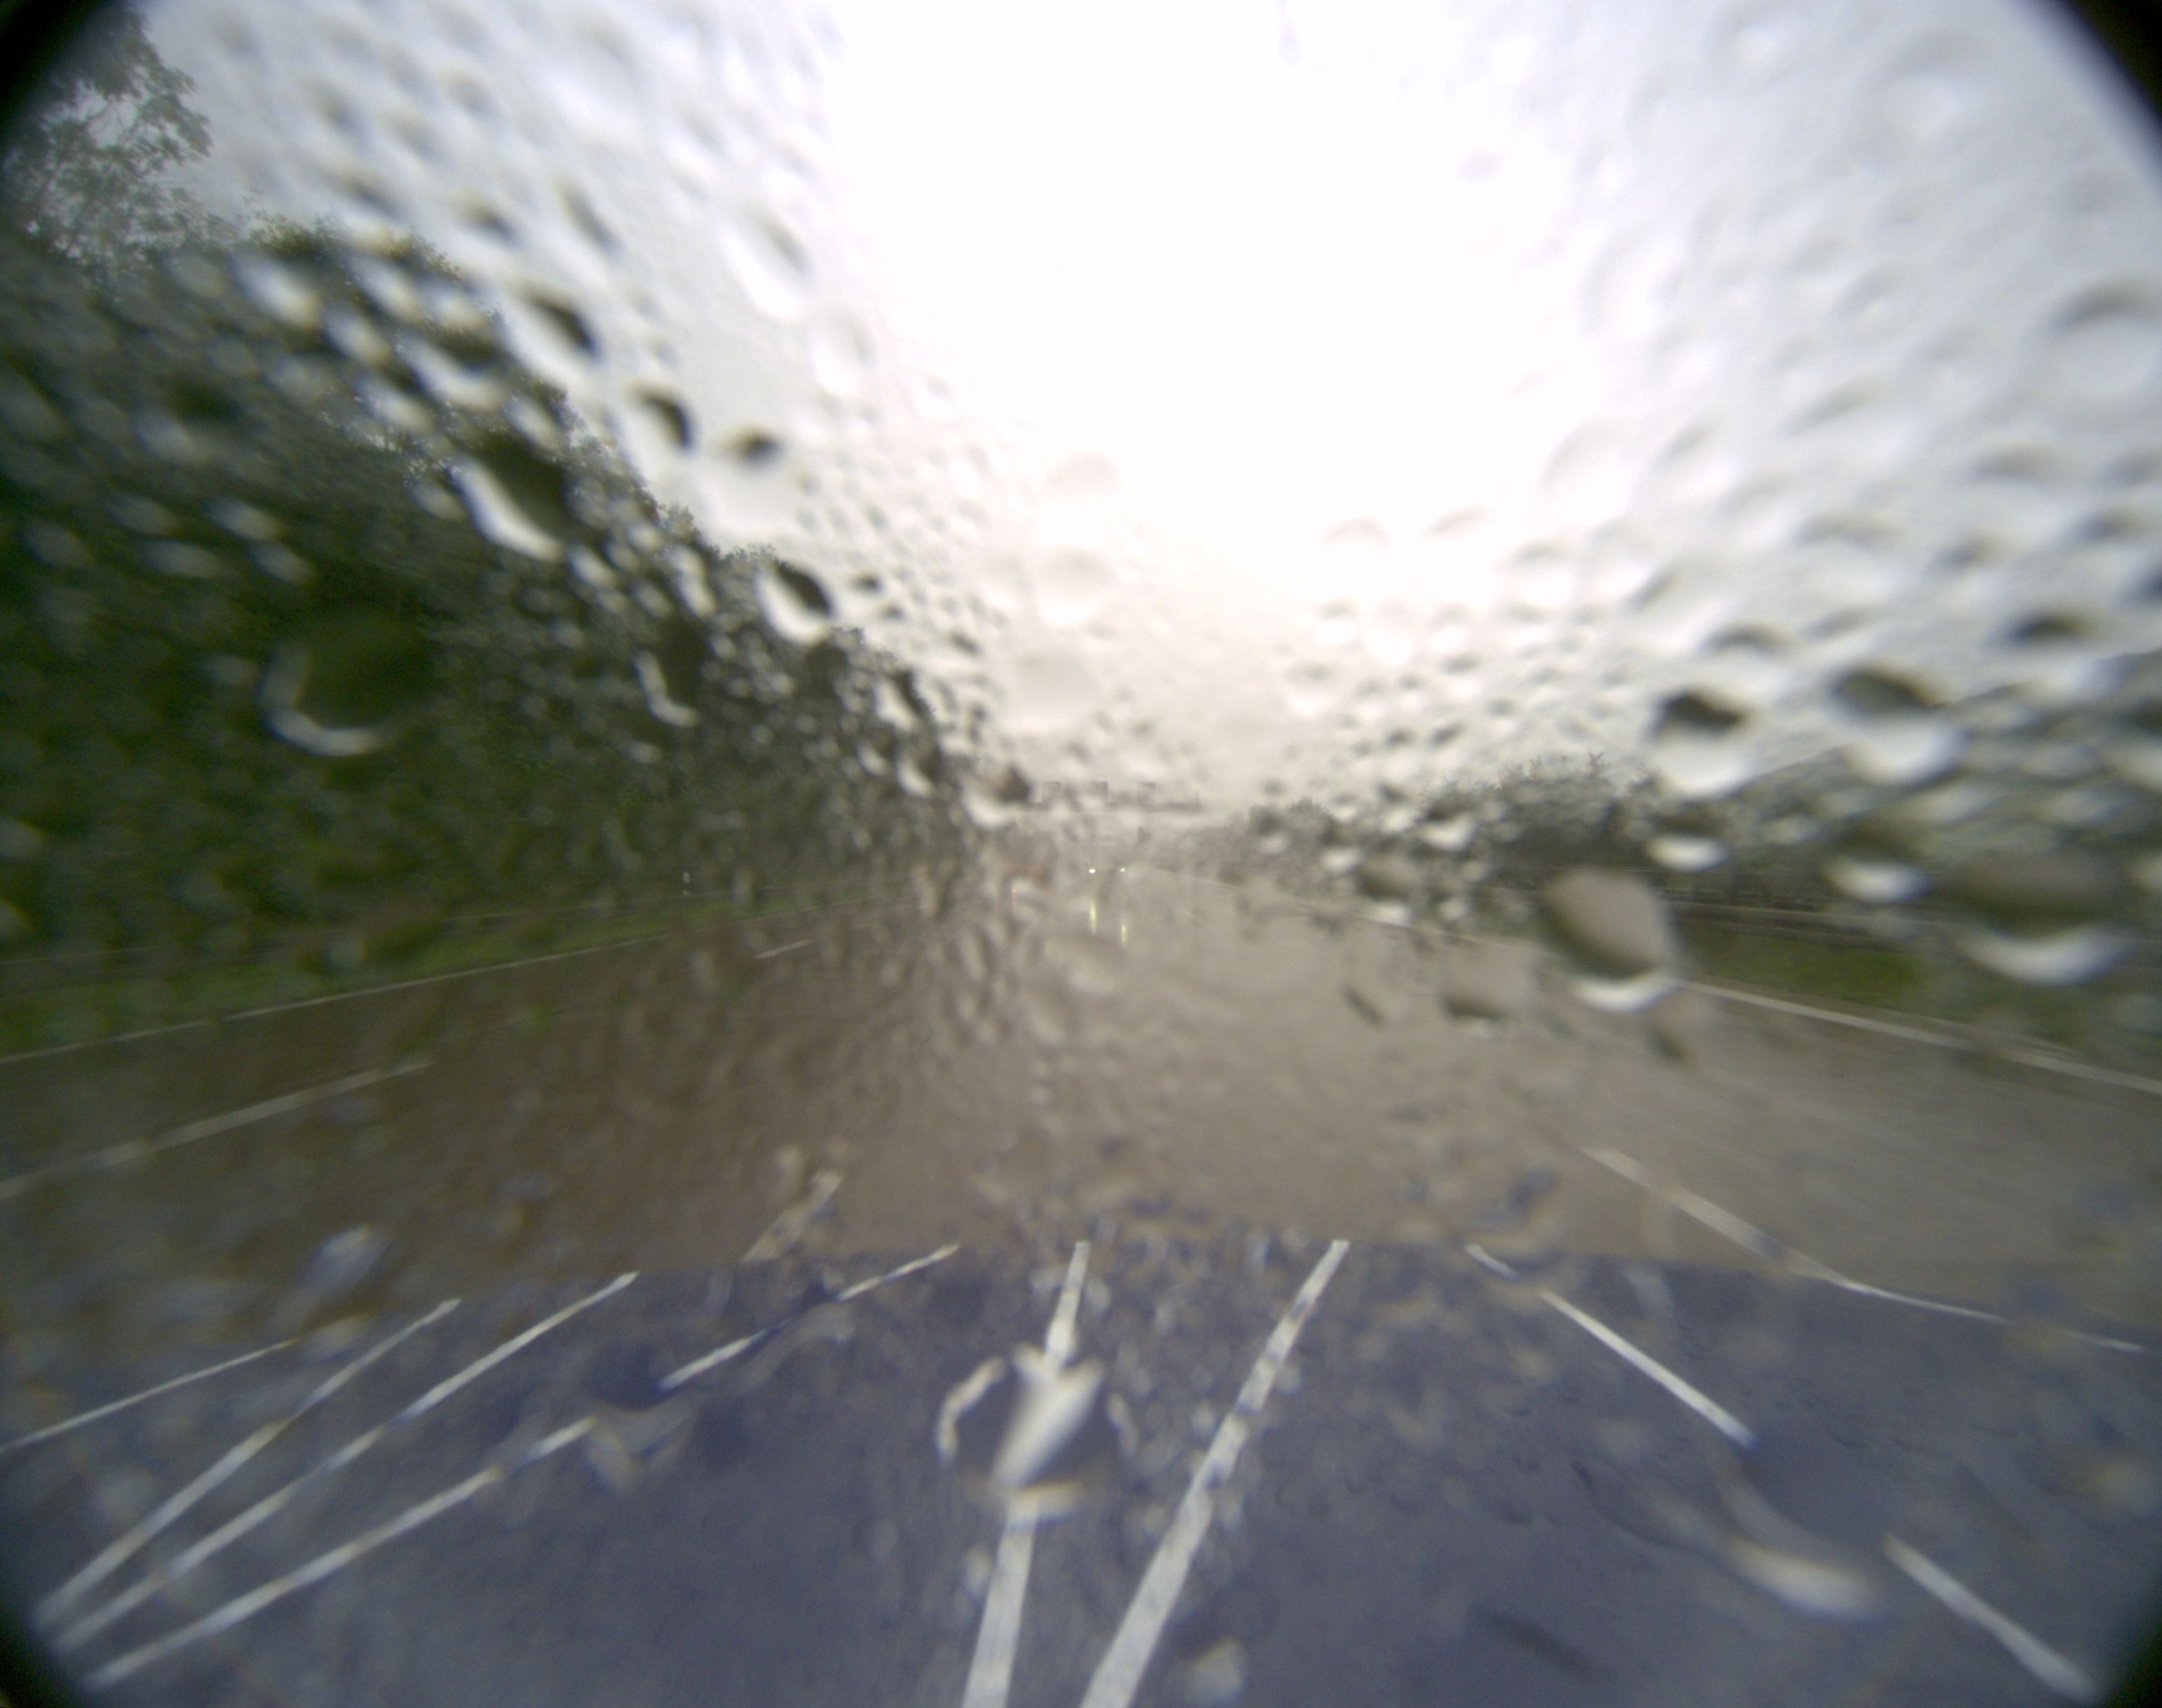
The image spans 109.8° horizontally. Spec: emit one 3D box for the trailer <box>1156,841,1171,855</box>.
[{"bbox_3d":[25.407,-1.731,235.109,3.363,4.149,11.401,-1,0,0],"label":"trailer"}]

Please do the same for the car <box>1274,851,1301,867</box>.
[{"bbox_3d":[23.780,0.578,87.638,1.998,1.772,4.000,-2,1,1],"label":"car"}]

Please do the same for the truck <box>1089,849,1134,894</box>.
[{"bbox_3d":[1.414,0.774,37.857,1.998,2.002,7.575,0,0,0],"label":"truck"}]

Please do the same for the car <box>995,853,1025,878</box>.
[{"bbox_3d":[-5.933,0.911,63.711,1.859,2.002,4.001,-1,0,4],"label":"car"}]
